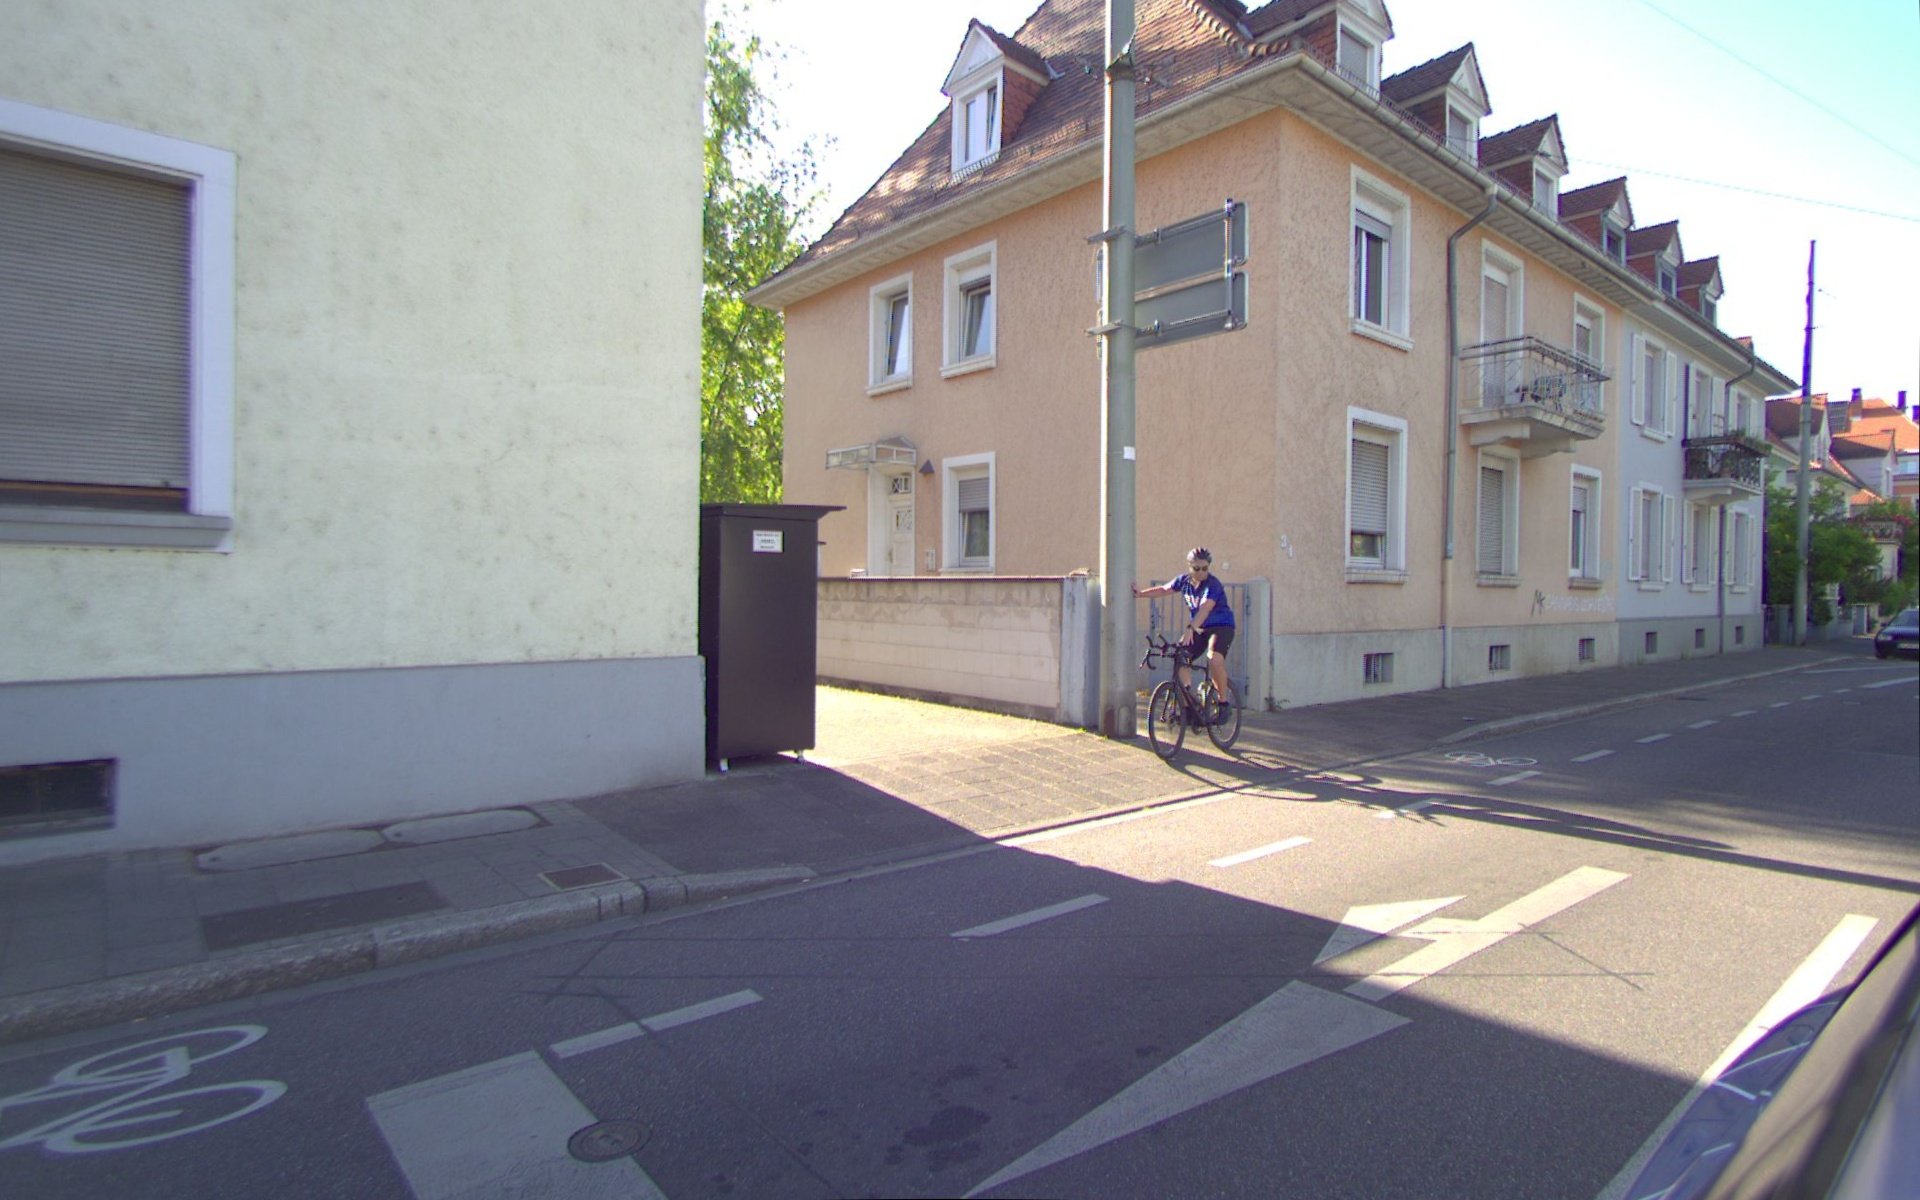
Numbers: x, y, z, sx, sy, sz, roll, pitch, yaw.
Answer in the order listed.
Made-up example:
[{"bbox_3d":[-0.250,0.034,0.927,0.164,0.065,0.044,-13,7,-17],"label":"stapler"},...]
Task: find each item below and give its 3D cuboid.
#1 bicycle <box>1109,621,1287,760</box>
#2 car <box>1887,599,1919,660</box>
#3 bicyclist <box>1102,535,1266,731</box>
[{"bbox_3d":[2.199,0.772,9.236,1.744,1.081,0.592,0,5,-41],"label":"bicycle"},{"bbox_3d":[26.693,0.753,27.367,3.742,1.601,1.696,0,-1,-36],"label":"car"},{"bbox_3d":[2.061,0.261,9.358,0.870,1.627,1.052,1,5,-41],"label":"bicyclist"}]
